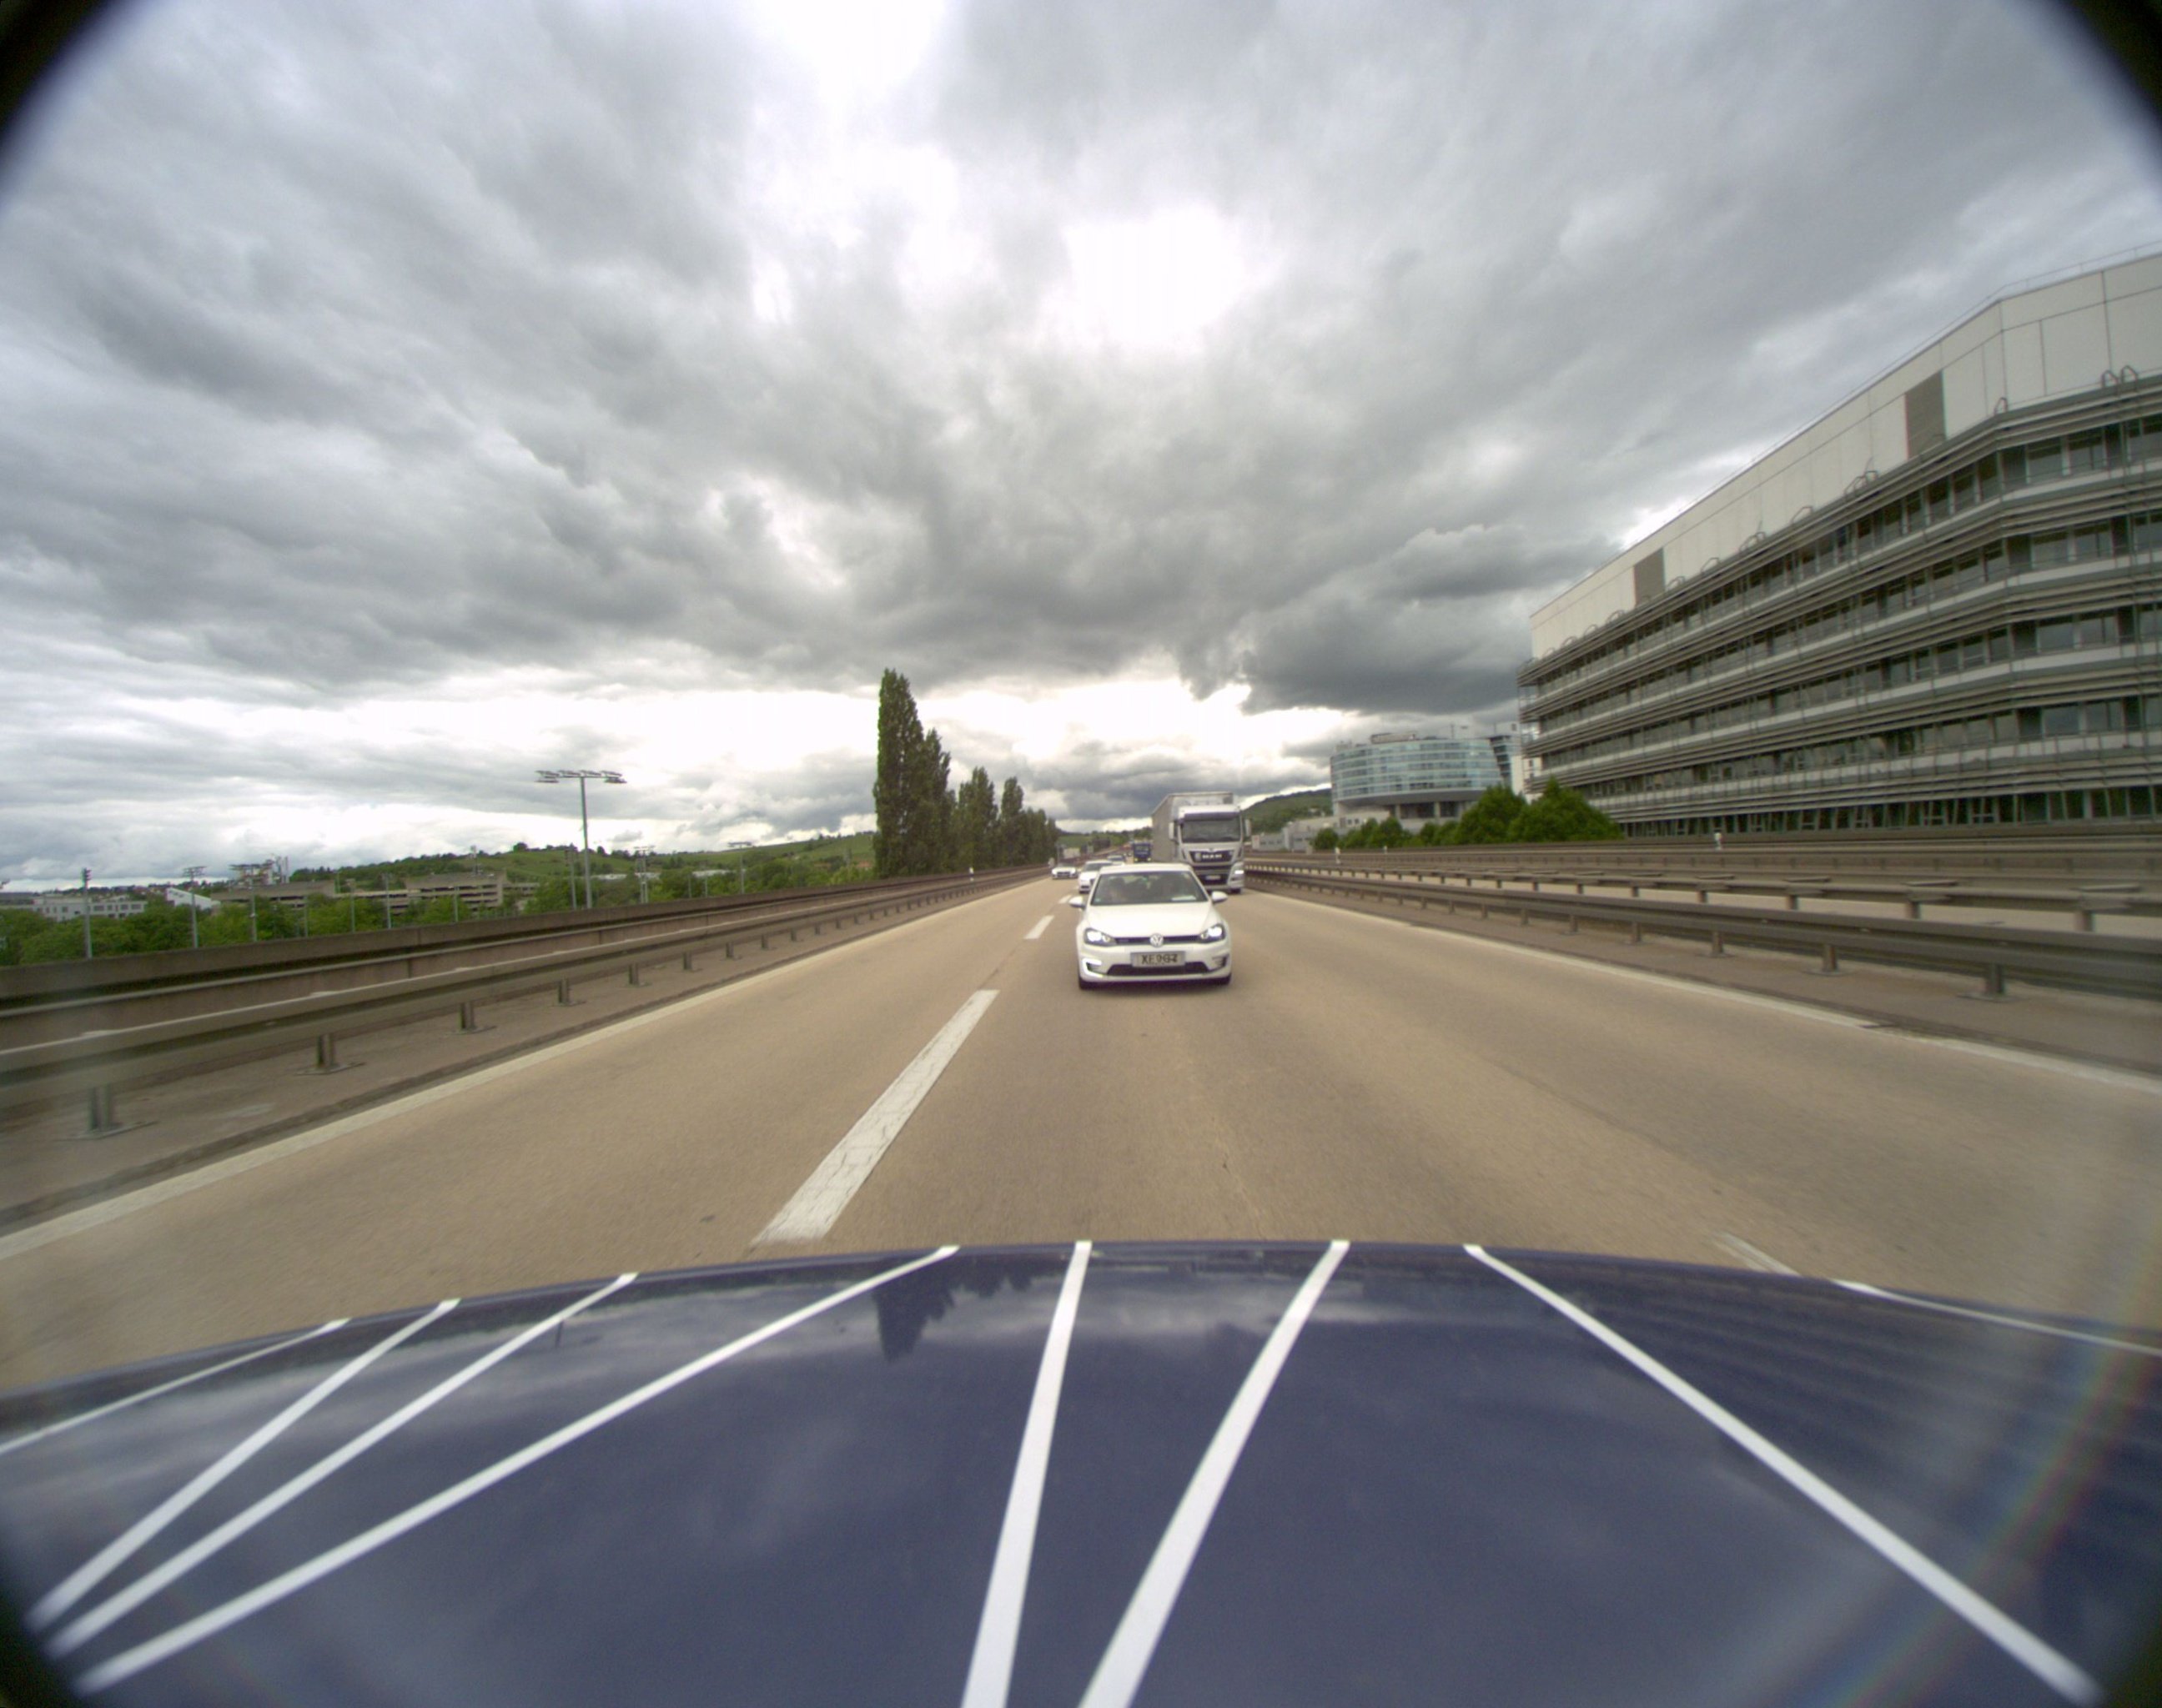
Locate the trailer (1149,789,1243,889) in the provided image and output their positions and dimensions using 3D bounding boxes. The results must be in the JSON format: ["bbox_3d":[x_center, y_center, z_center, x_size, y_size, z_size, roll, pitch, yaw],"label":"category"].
[{"bbox_3d":[5.368,-0.695,37.766,3.189,4.003,11.766,-4,1,3],"label":"trailer"}]

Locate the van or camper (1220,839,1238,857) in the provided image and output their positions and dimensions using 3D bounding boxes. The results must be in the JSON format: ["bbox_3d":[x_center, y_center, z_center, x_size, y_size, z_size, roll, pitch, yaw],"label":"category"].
[{"bbox_3d":[25.395,-1.018,130.797,2.176,2.991,7.119,-2,0,5],"label":"van or camper"}]

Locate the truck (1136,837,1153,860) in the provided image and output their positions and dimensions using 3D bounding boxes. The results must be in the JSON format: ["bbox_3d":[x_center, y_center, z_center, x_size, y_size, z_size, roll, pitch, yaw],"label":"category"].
[{"bbox_3d":[9.226,-0.869,110.939,2.336,3.219,6.687,-2,1,5],"label":"truck"}]

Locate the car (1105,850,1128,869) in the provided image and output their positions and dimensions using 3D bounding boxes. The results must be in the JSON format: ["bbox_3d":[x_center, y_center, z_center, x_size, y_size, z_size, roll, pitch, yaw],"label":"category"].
[{"bbox_3d":[3.296,0.503,70.545,1.930,1.585,4.062,-3,1,4],"label":"car"}]

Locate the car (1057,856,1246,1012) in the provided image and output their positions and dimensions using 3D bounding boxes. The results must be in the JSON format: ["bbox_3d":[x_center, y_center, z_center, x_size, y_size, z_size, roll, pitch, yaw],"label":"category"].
[{"bbox_3d":[0.875,0.857,10.012,1.930,1.499,4.062,-2,1,4],"label":"car"}]

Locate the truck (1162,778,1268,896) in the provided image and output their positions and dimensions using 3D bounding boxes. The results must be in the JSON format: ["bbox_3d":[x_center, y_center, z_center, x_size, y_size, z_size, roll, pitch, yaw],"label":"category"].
[{"bbox_3d":[5.096,-0.652,30.035,3.142,4.014,5.688,-4,1,2],"label":"truck"}]

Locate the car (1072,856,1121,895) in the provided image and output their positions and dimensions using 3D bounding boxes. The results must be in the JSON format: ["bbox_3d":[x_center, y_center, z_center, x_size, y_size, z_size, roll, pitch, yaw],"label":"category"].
[{"bbox_3d":[0.750,0.911,34.045,1.930,1.499,4.062,-3,1,4],"label":"car"}]

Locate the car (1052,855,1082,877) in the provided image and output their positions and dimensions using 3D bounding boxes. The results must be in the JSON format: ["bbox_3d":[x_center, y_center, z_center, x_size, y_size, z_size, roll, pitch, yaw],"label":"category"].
[{"bbox_3d":[-1.028,0.937,59.980,1.930,1.499,4.062,-3,1,4],"label":"car"}]

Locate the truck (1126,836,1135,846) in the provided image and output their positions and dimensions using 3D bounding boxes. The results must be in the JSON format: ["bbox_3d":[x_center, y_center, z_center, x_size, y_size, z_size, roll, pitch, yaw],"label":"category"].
[{"bbox_3d":[16.365,-4.332,249.269,2.625,3.219,6.687,-2,1,5],"label":"truck"}]

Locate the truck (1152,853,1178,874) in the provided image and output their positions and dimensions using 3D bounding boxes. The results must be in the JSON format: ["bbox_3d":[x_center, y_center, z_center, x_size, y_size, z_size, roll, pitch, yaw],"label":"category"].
[{"bbox_3d":[6.586,0.709,59.557,1.829,1.521,3.514,-2,1,4],"label":"truck"}]
